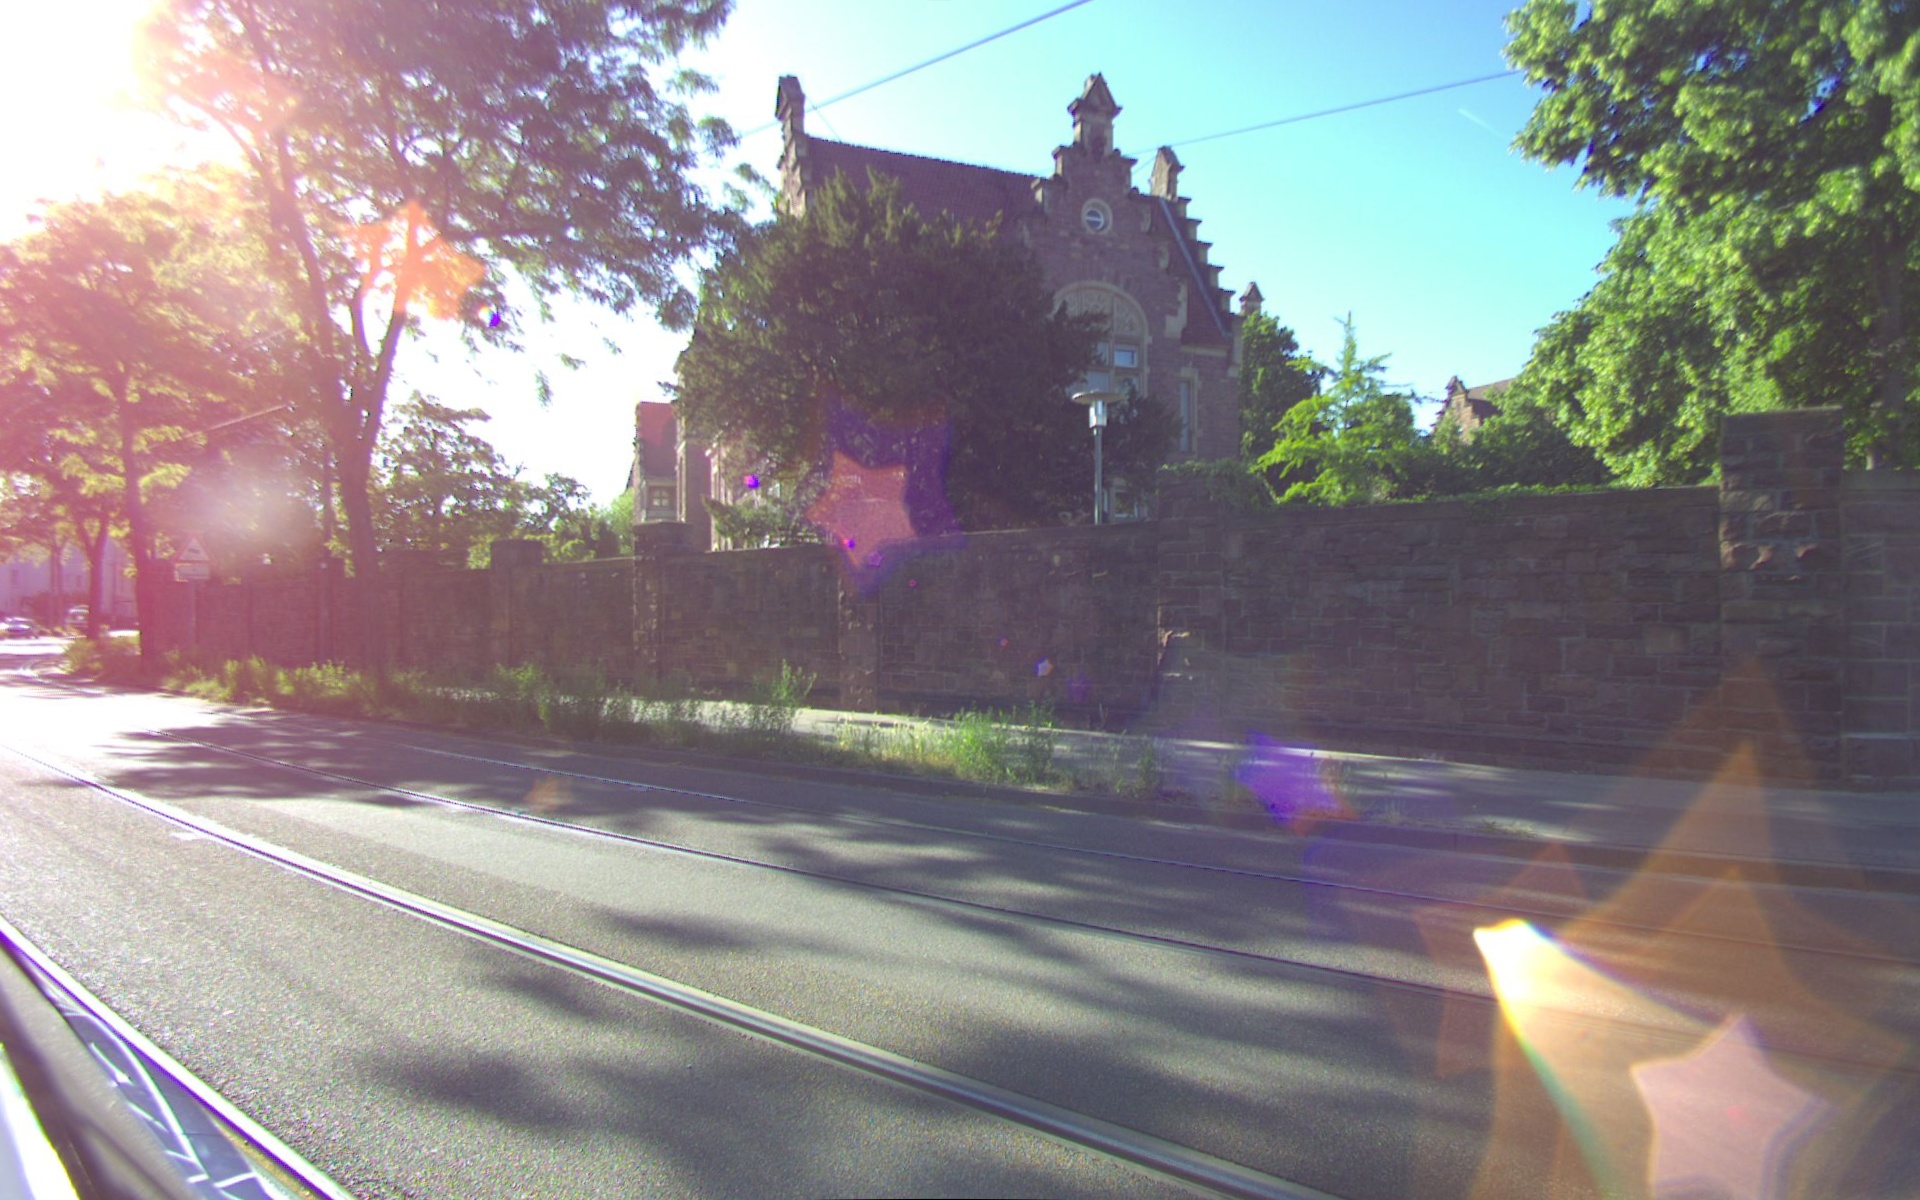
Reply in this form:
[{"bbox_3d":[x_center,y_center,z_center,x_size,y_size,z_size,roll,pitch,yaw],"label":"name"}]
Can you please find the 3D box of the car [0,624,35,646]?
[{"bbox_3d":[-68.882,2.516,73.844,1.969,1.560,4.005,0,-1,-41],"label":"car"}]
